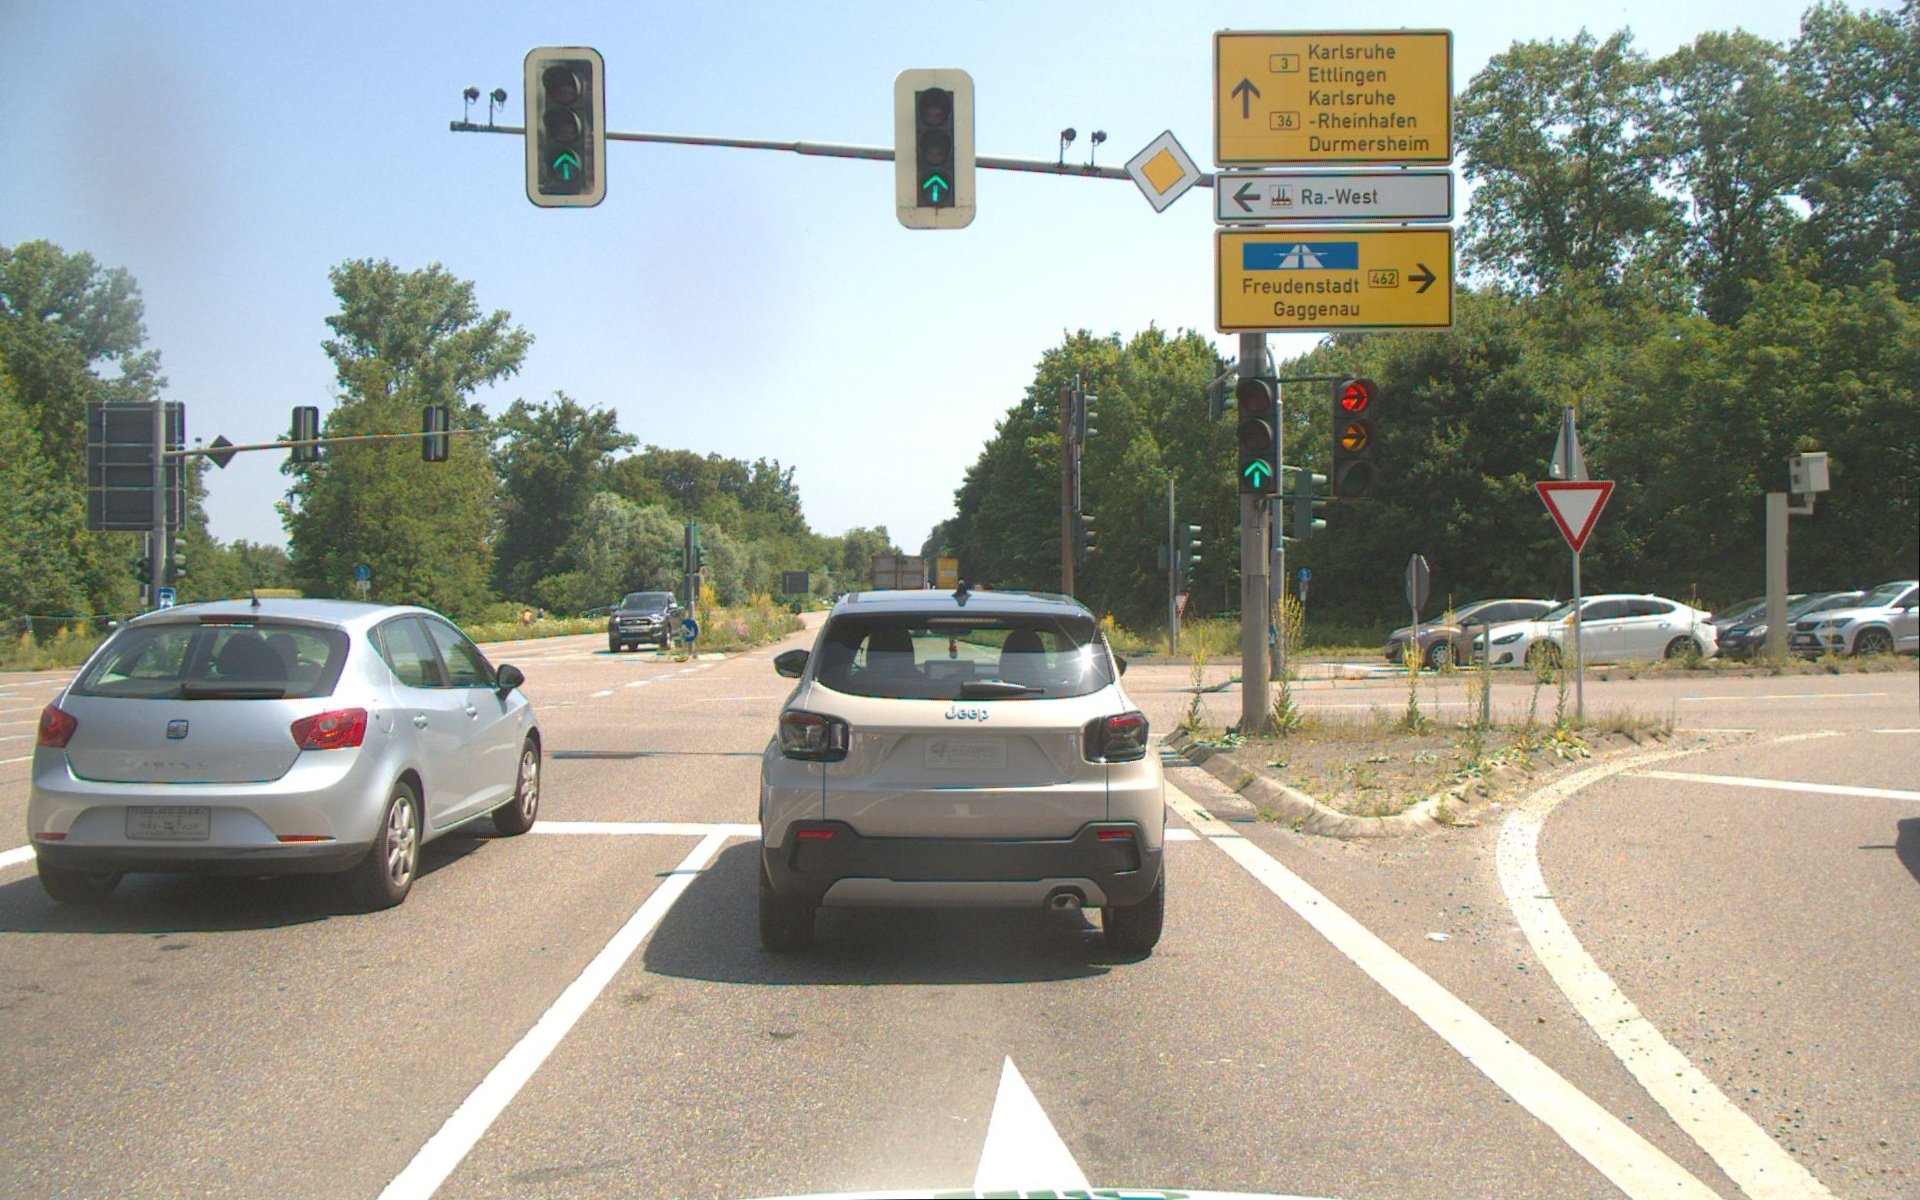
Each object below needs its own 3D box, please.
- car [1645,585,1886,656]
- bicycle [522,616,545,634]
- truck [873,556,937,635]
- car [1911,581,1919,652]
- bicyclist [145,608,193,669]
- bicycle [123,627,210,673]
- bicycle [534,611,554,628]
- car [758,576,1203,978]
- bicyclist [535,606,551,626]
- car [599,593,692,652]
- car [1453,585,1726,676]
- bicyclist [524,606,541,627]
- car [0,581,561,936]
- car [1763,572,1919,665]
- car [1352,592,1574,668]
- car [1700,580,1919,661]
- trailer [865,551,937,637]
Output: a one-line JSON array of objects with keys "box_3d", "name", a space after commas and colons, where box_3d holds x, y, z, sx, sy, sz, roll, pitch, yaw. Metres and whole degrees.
[{"box_3d": [18.542, 0.473, 38.205, 4.523, 1.525, 2.111, -1, -1, -1], "name": "car"}, {"box_3d": [-25.558, 1.523, 99.088, 0.661, 1.023, 1.802, -2, 0, 8], "name": "bicycle"}, {"box_3d": [-2.978, -0.217, 90.098, 3.265, 4.058, 6.530, 1, -1, -2], "name": "truck"}, {"box_3d": [23.457, 0.283, 35.344, 5.025, 1.560, 2.137, -1, -1, -1], "name": "car"}, {"box_3d": [-19.738, 0.957, 41.267, 0.908, 1.485, 0.713, -1, 0, 36], "name": "bicyclist"}, {"box_3d": [-19.768, 1.241, 41.234, 0.710, 1.082, 1.862, -1, 0, 36], "name": "bicycle"}, {"box_3d": [-26.026, 1.205, 103.431, 0.591, 1.023, 1.557, -2, -1, 10], "name": "bicycle"}, {"box_3d": [0.063, 0.694, 8.454, 1.731, 1.562, 3.999, 0, 0, -1], "name": "car"}, {"box_3d": [-26.052, 0.975, 103.351, 0.719, 1.216, 0.592, -2, -1, 10], "name": "bicyclist"}, {"box_3d": [-9.939, 0.683, 52.643, 1.953, 1.707, 5.364, -2, 0, -1], "name": "car"}, {"box_3d": [11.711, 0.550, 30.968, 4.331, 1.562, 1.999, -1, 0, -3], "name": "car"}, {"box_3d": [-25.597, 0.996, 99.061, 0.741, 1.216, 0.592, -2, 0, 9], "name": "bicyclist"}, {"box_3d": [-3.397, 0.661, 8.812, 1.632, 1.455, 3.827, 1, 0, -1], "name": "car"}, {"box_3d": [17.776, 0.319, 31.410, 4.087, 1.688, 1.999, -1, 0, -2], "name": "car"}, {"box_3d": [10.518, 0.610, 34.788, 4.010, 1.472, 1.994, -1, 0, -4], "name": "car"}, {"box_3d": [18.075, 0.421, 34.484, 4.330, 1.562, 2.121, -1, -1, -2], "name": "car"}, {"box_3d": [-2.890, -0.238, 84.350, 3.314, 4.058, 10.802, 1, -1, -1], "name": "trailer"}]
